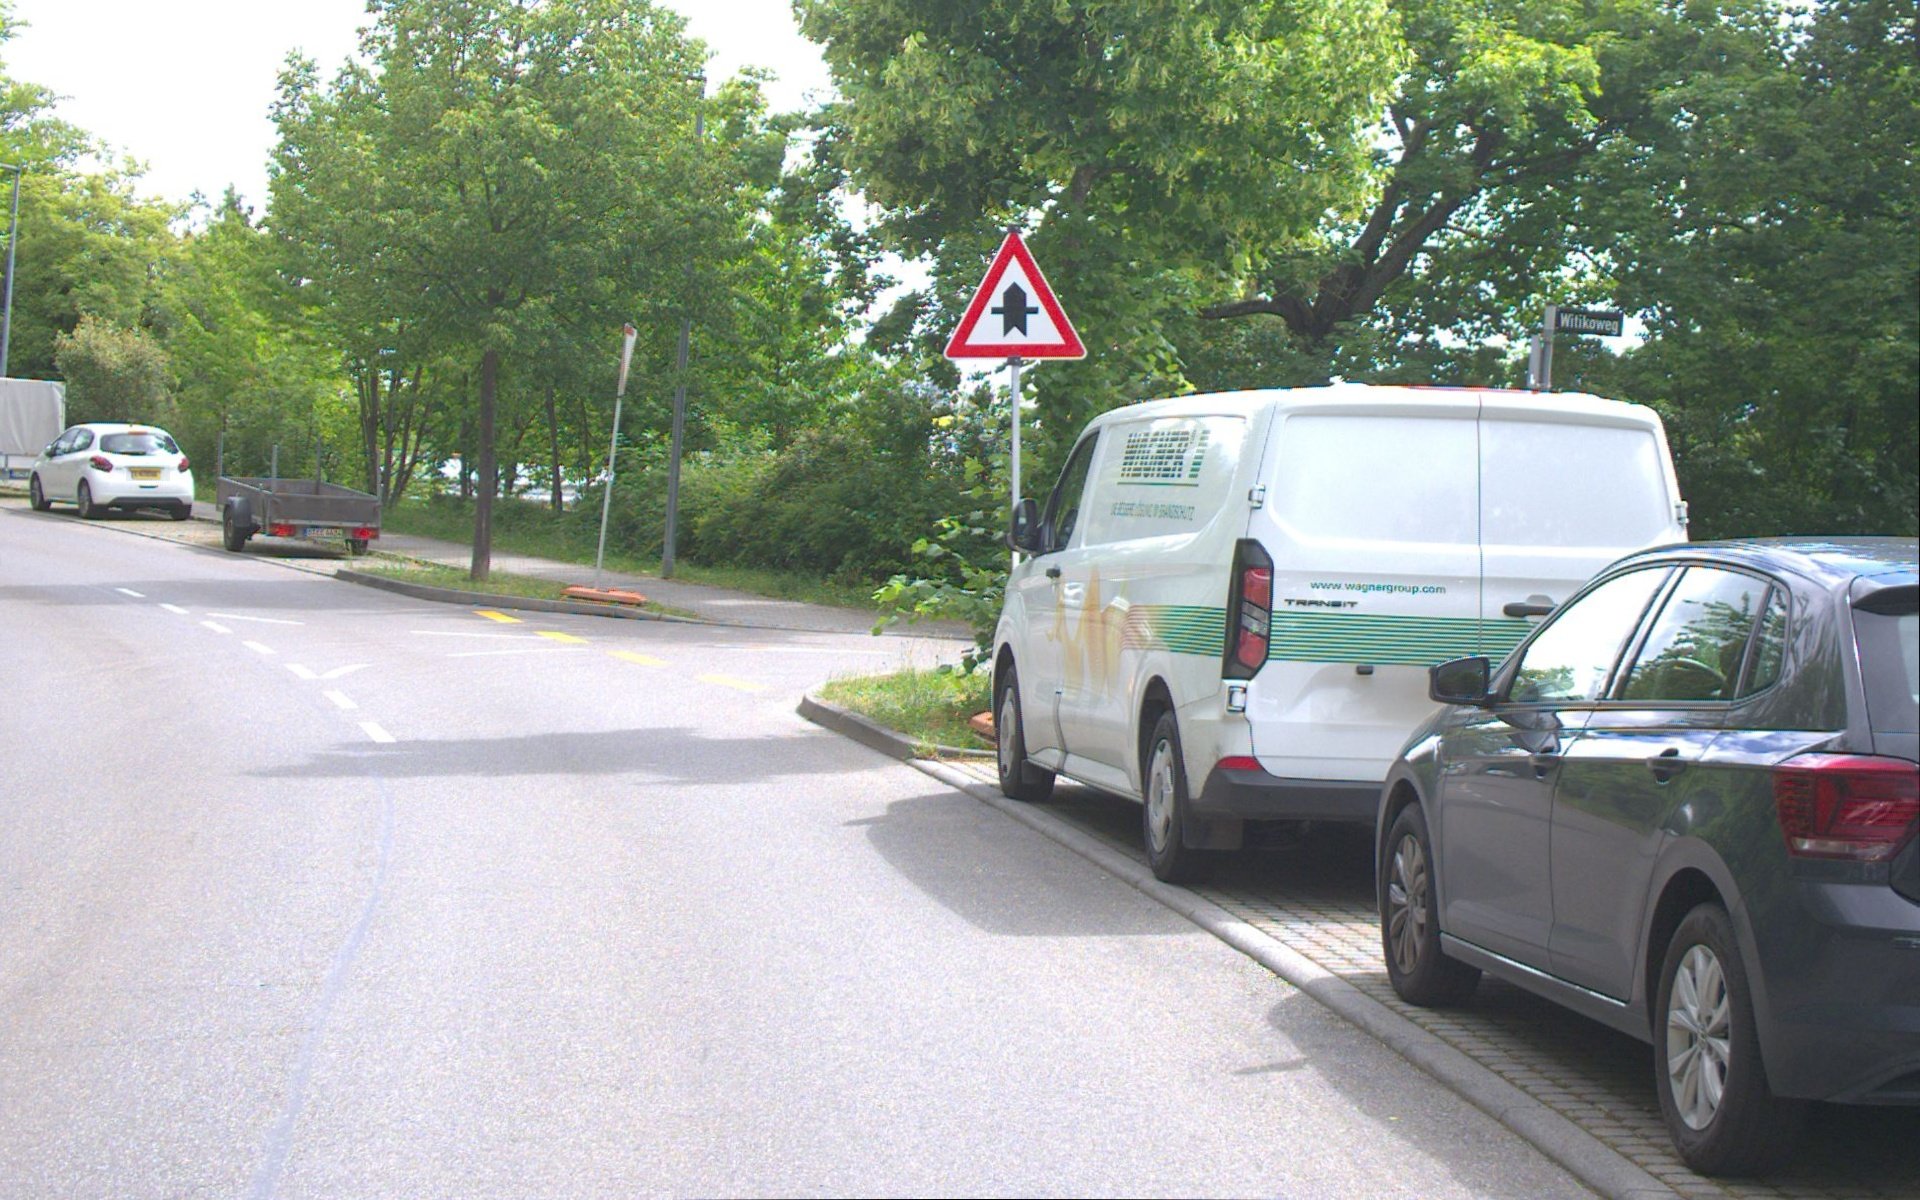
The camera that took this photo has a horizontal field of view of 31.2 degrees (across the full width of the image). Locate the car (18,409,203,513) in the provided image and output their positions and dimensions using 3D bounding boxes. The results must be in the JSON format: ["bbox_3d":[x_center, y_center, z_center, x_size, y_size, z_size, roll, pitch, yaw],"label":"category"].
[{"bbox_3d":[-13.641,-2.244,55.043,1.769,1.406,4.001,1,5,-30],"label":"car"}]

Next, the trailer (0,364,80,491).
[{"bbox_3d":[-17.077,-3.082,60.433,1.740,2.103,4.000,0,5,-36],"label":"trailer"}]

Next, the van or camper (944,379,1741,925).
[{"bbox_3d":[1.389,0.102,15.029,1.993,1.913,5.268,2,2,-10],"label":"van or camper"}]

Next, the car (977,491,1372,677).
[{"bbox_3d":[2.077,-0.174,33.943,3.535,1.476,1.782,4,3,-6],"label":"car"}]

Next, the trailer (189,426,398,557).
[{"bbox_3d":[-9.128,-1.508,46.829,1.784,1.520,4.002,1,4,-26],"label":"trailer"}]

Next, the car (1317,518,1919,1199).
[{"bbox_3d":[2.292,0.569,9.030,1.797,1.459,4.001,3,1,-6],"label":"car"}]

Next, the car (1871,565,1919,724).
[{"bbox_3d":[11.778,0.731,35.397,3.986,1.590,2.001,8,1,-9],"label":"car"}]
